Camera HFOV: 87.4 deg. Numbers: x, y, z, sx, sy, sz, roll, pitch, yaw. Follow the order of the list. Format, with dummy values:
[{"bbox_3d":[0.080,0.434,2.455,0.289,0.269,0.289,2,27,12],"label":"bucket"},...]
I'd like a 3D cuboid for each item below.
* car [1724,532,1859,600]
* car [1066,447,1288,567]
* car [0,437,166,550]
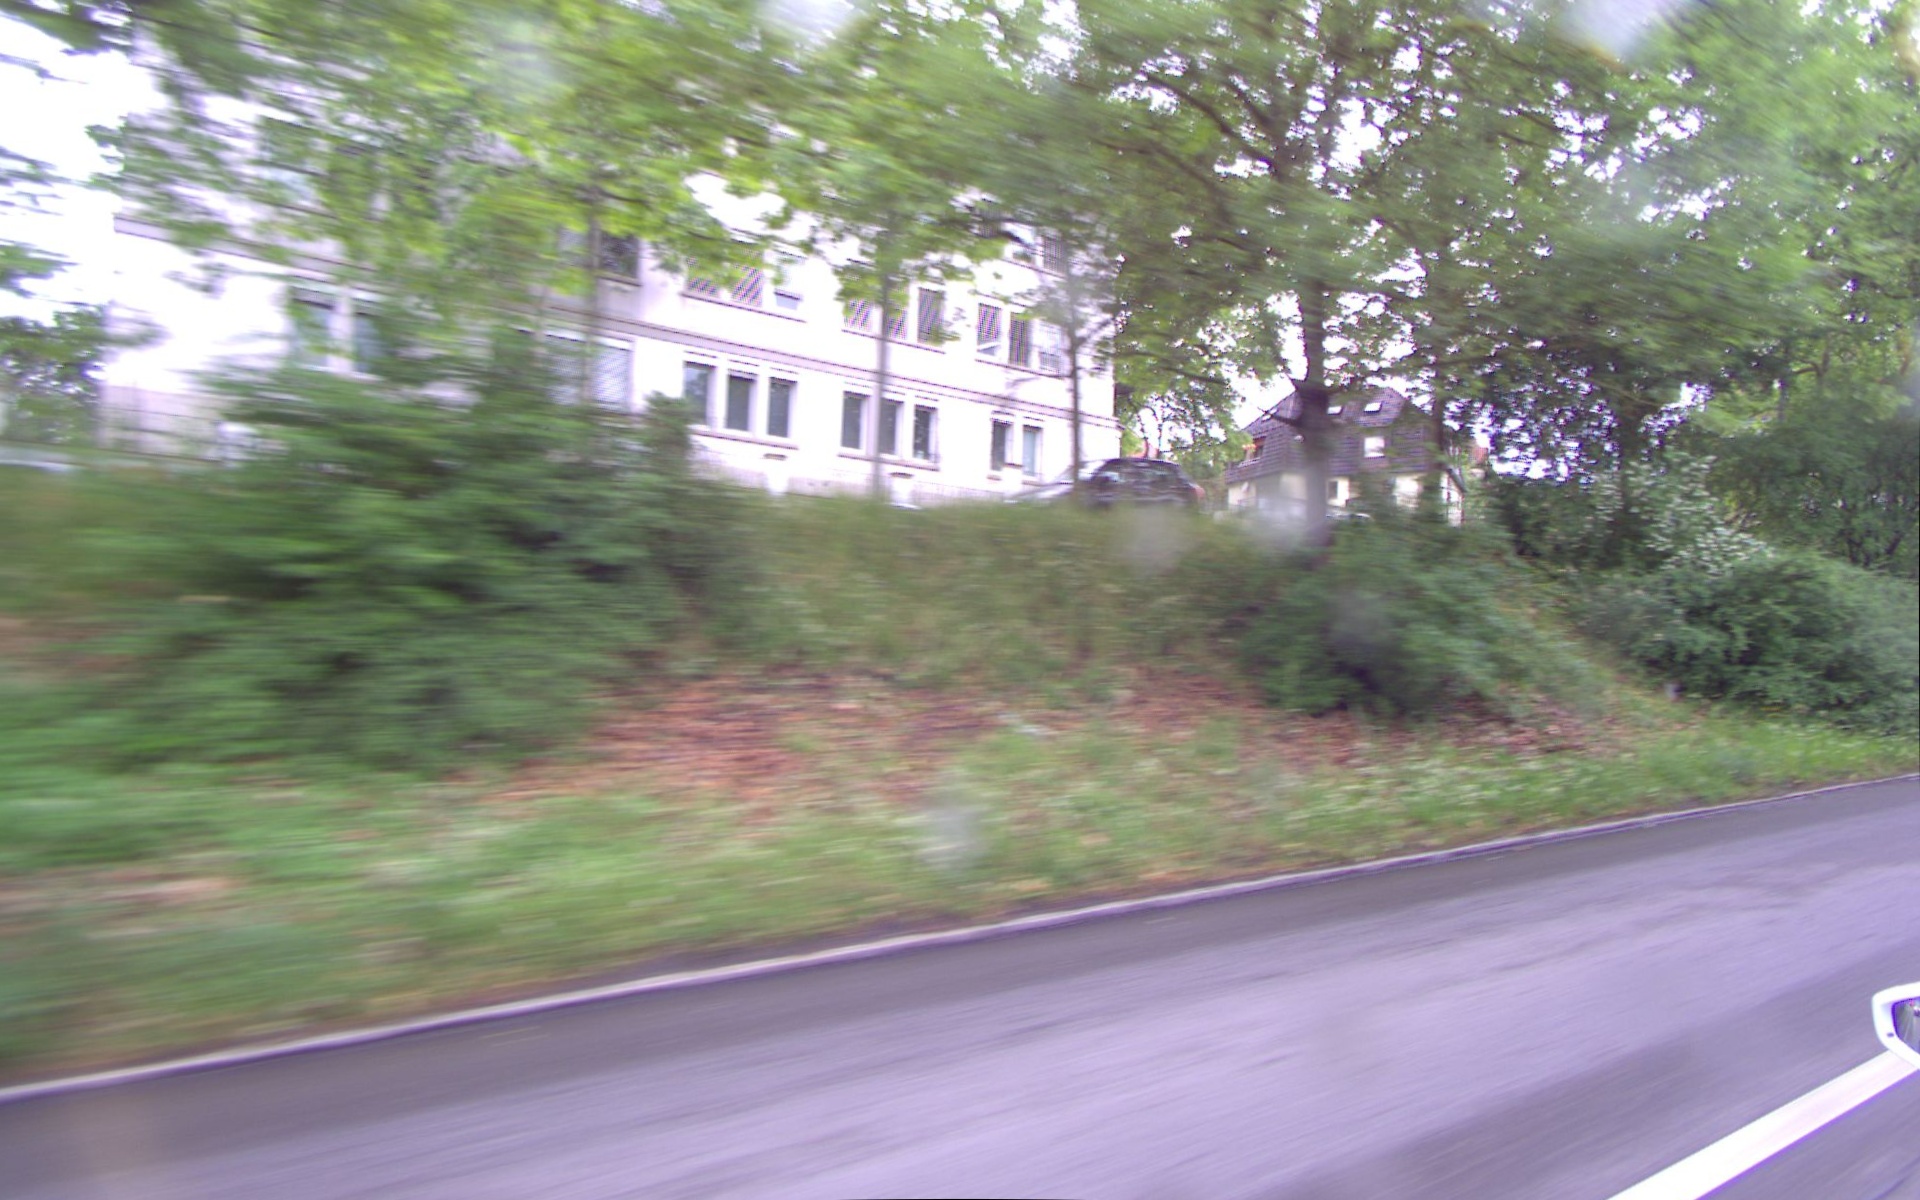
[{"bbox_3d":[22.479,-0.886,27.146,3.402,1.684,1.743,-1,-1,-30],"label":"car"},{"bbox_3d":[3.536,-1.415,16.276,3.340,1.459,1.545,4,-3,-30],"label":"car"},{"bbox_3d":[-13.234,-1.523,14.187,2.984,1.315,1.374,4,-3,-33],"label":"car"}]
